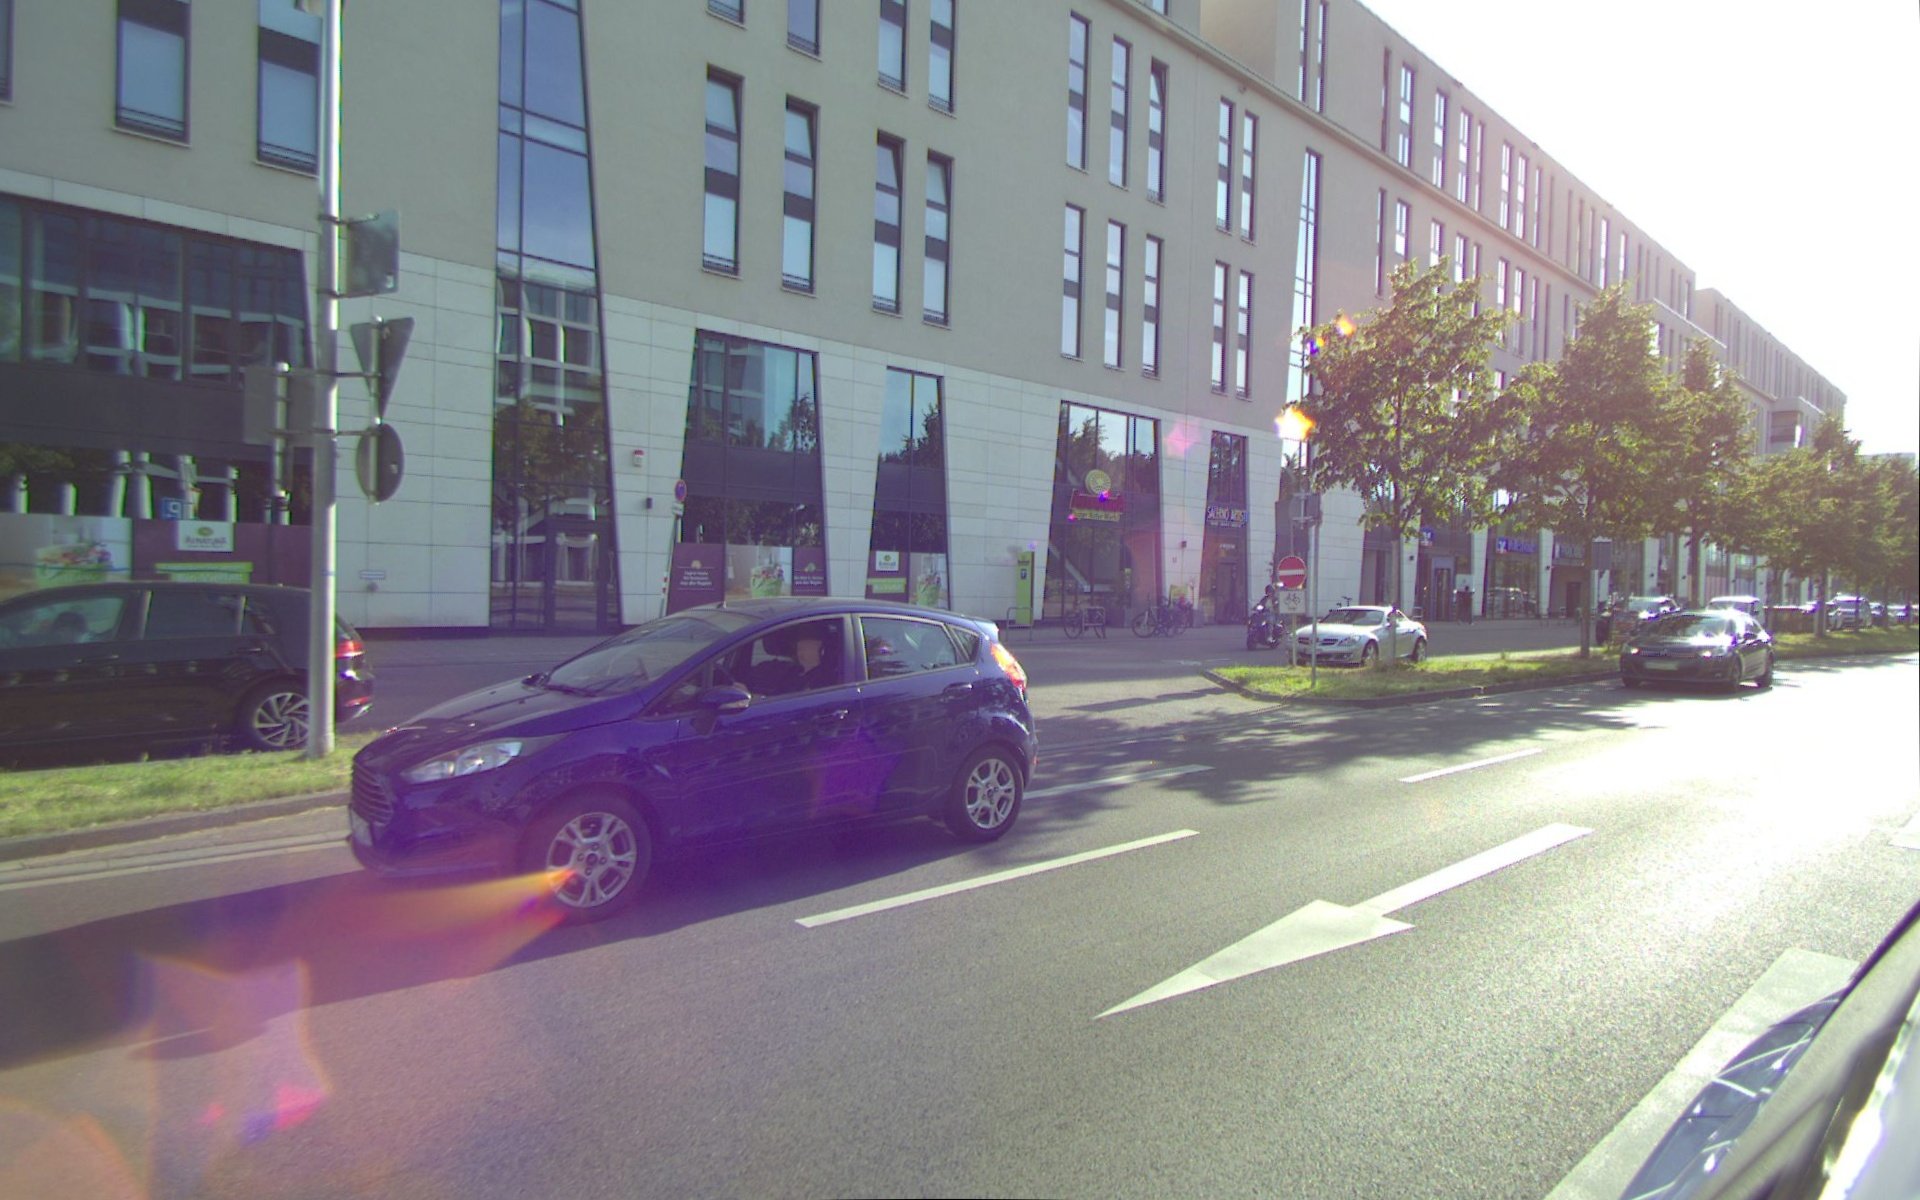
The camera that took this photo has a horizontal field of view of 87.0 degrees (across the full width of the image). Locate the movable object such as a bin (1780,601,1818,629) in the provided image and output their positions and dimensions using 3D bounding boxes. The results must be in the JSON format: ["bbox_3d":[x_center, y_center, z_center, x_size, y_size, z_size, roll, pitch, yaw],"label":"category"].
[{"bbox_3d":[40.090,0.707,48.377,1.159,1.308,1.278,0,0,-44],"label":"movable object such as a bin"}]

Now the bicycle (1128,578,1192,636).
[{"bbox_3d":[5.668,0.168,28.601,2.173,1.587,0.556,-1,0,-40],"label":"bicycle"}]

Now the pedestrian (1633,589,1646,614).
[{"bbox_3d":[42.672,0.082,63.559,0.531,1.594,0.514,0,0,7],"label":"pedestrian"}]

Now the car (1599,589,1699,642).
[{"bbox_3d":[24.022,0.516,35.223,4.597,1.730,1.899,1,-1,-42],"label":"car"}]

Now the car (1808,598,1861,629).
[{"bbox_3d":[49.172,0.731,56.866,4.769,1.650,1.732,0,2,-43],"label":"car"}]

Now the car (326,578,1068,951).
[{"bbox_3d":[-1.247,0.647,5.804,3.840,1.442,1.562,1,0,-42],"label":"car"}]

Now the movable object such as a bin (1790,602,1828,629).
[{"bbox_3d":[41.138,0.744,49.042,1.172,1.252,1.278,0,0,-44],"label":"movable object such as a bin"}]

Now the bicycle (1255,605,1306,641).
[{"bbox_3d":[10.329,0.711,32.572,1.871,1.097,0.635,0,2,-40],"label":"bicycle"}]

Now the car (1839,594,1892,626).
[{"bbox_3d":[56.409,0.565,63.023,4.943,1.900,1.841,-1,0,-41],"label":"car"}]

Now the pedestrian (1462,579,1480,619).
[{"bbox_3d":[23.014,-0.051,45.568,0.635,1.785,0.538,0,0,-40],"label":"pedestrian"}]

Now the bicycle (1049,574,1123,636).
[{"bbox_3d":[3.368,0.108,26.903,2.236,1.590,0.556,-1,0,-40],"label":"bicycle"}]

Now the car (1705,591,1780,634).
[{"bbox_3d":[33.123,0.488,42.803,4.223,1.733,1.829,-1,0,-42],"label":"car"}]

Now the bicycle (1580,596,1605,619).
[{"bbox_3d":[32.287,0.351,51.636,1.911,1.130,0.493,0,2,-41],"label":"bicycle"}]

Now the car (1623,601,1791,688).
[{"bbox_3d":[14.292,0.764,19.293,3.968,1.442,1.697,-1,0,-40],"label":"car"}]

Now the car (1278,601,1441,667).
[{"bbox_3d":[8.576,0.664,21.606,3.838,1.258,1.711,-1,0,-42],"label":"car"}]

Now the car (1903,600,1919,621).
[{"bbox_3d":[67.159,0.733,70.719,4.098,1.430,1.617,-1,0,-43],"label":"car"}]

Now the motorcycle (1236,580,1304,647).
[{"bbox_3d":[8.112,0.331,26.407,1.978,1.636,0.702,-1,5,-43],"label":"motorcycle"}]

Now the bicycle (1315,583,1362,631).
[{"bbox_3d":[13.260,0.215,35.396,2.173,1.639,0.556,-1,0,-40],"label":"bicycle"}]

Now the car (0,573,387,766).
[{"bbox_3d":[-7.094,0.492,8.165,4.085,1.388,1.609,-1,0,-41],"label":"car"}]

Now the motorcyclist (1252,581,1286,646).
[{"bbox_3d":[8.050,0.341,26.366,0.410,1.660,0.624,1,3,-42],"label":"motorcyclist"}]
